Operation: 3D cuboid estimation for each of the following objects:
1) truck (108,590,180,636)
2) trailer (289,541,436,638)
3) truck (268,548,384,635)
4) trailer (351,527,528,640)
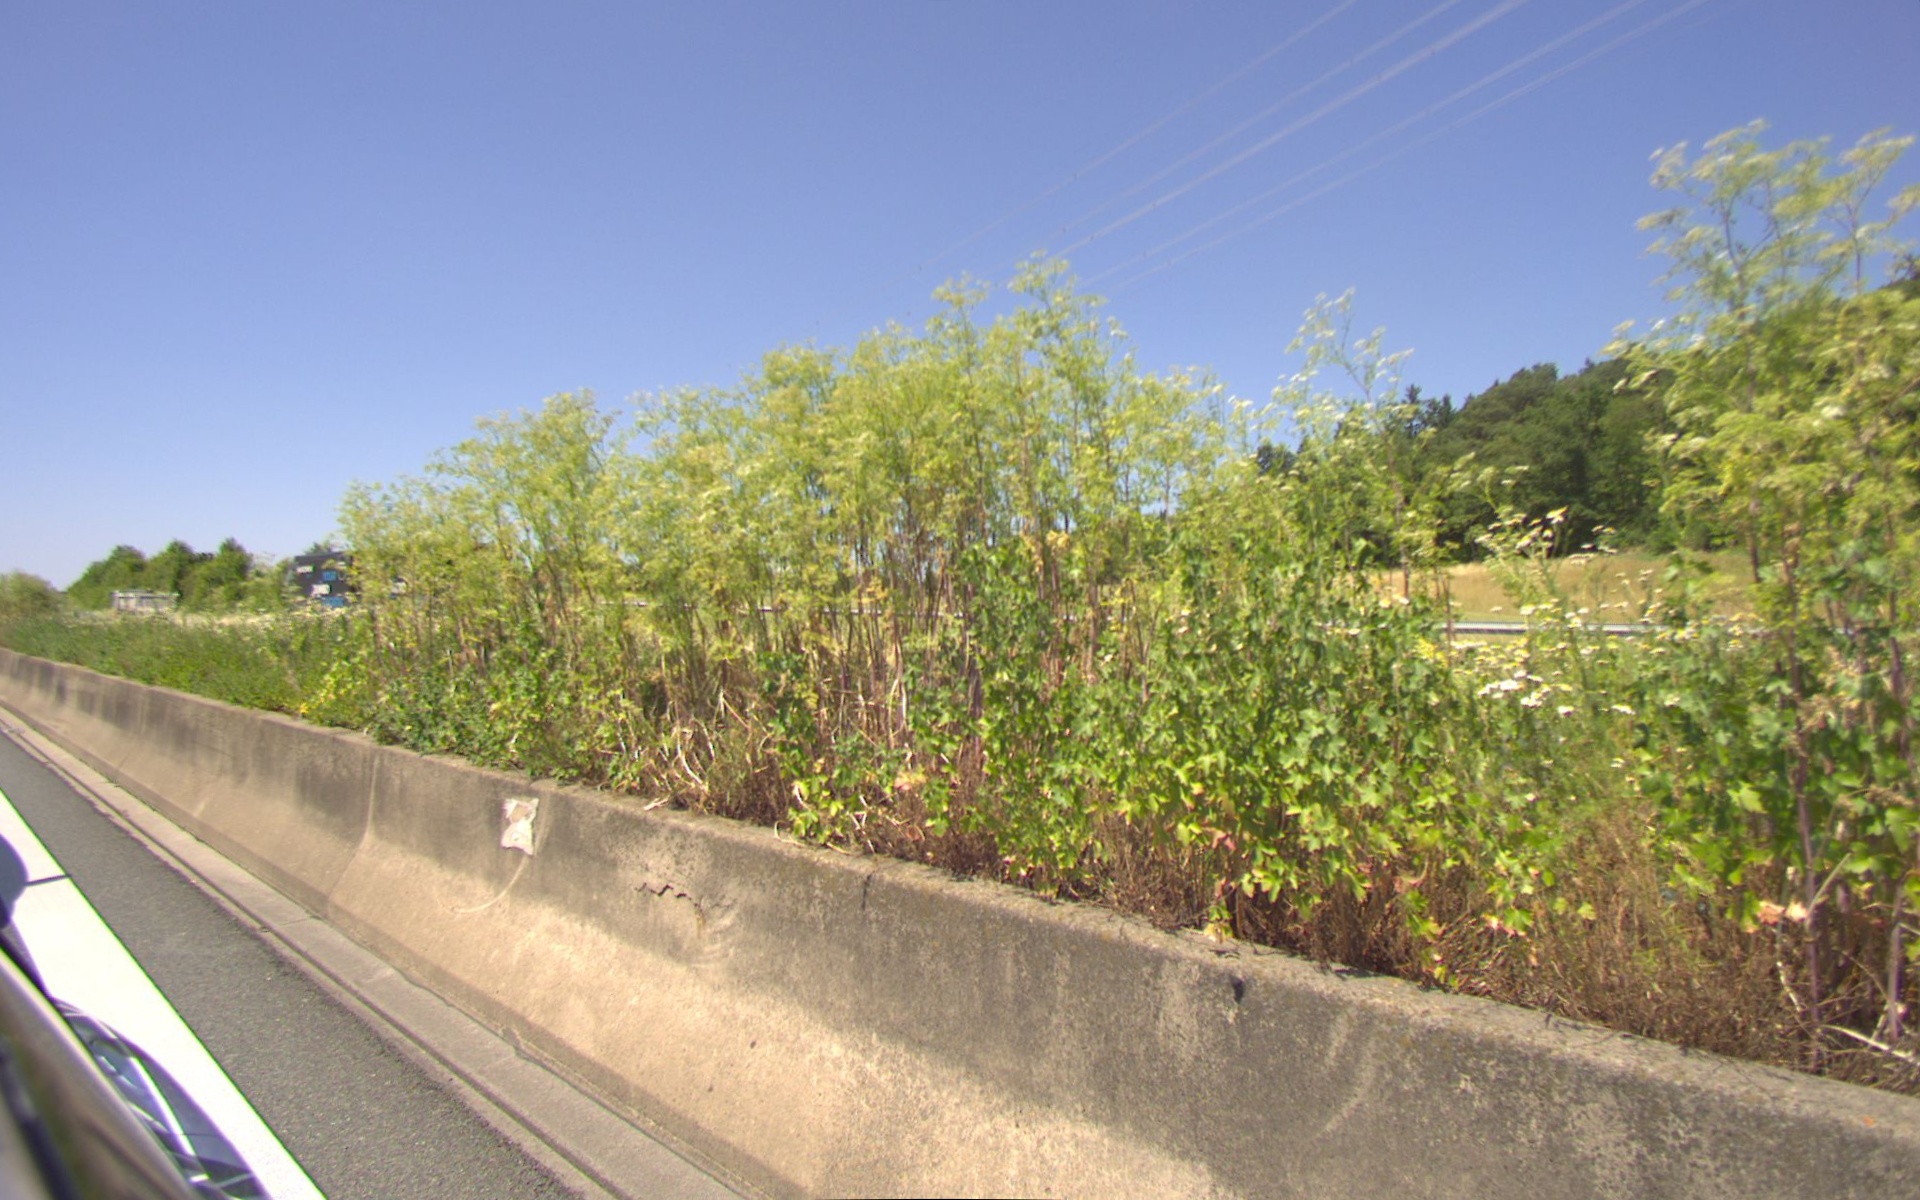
[{"bbox_3d":[-63.773,1.015,78.963,11.819,3.313,2.735,-1,-1,43],"label":"truck"},{"bbox_3d":[-25.610,-0.366,43.210,7.866,3.787,3.092,-1,-1,41],"label":"trailer"},{"bbox_3d":[-28.947,-0.316,46.159,5.460,3.738,3.039,-1,-1,41],"label":"truck"},{"bbox_3d":[-19.629,-0.471,37.875,8.198,3.790,3.149,-1,-2,42],"label":"trailer"}]
